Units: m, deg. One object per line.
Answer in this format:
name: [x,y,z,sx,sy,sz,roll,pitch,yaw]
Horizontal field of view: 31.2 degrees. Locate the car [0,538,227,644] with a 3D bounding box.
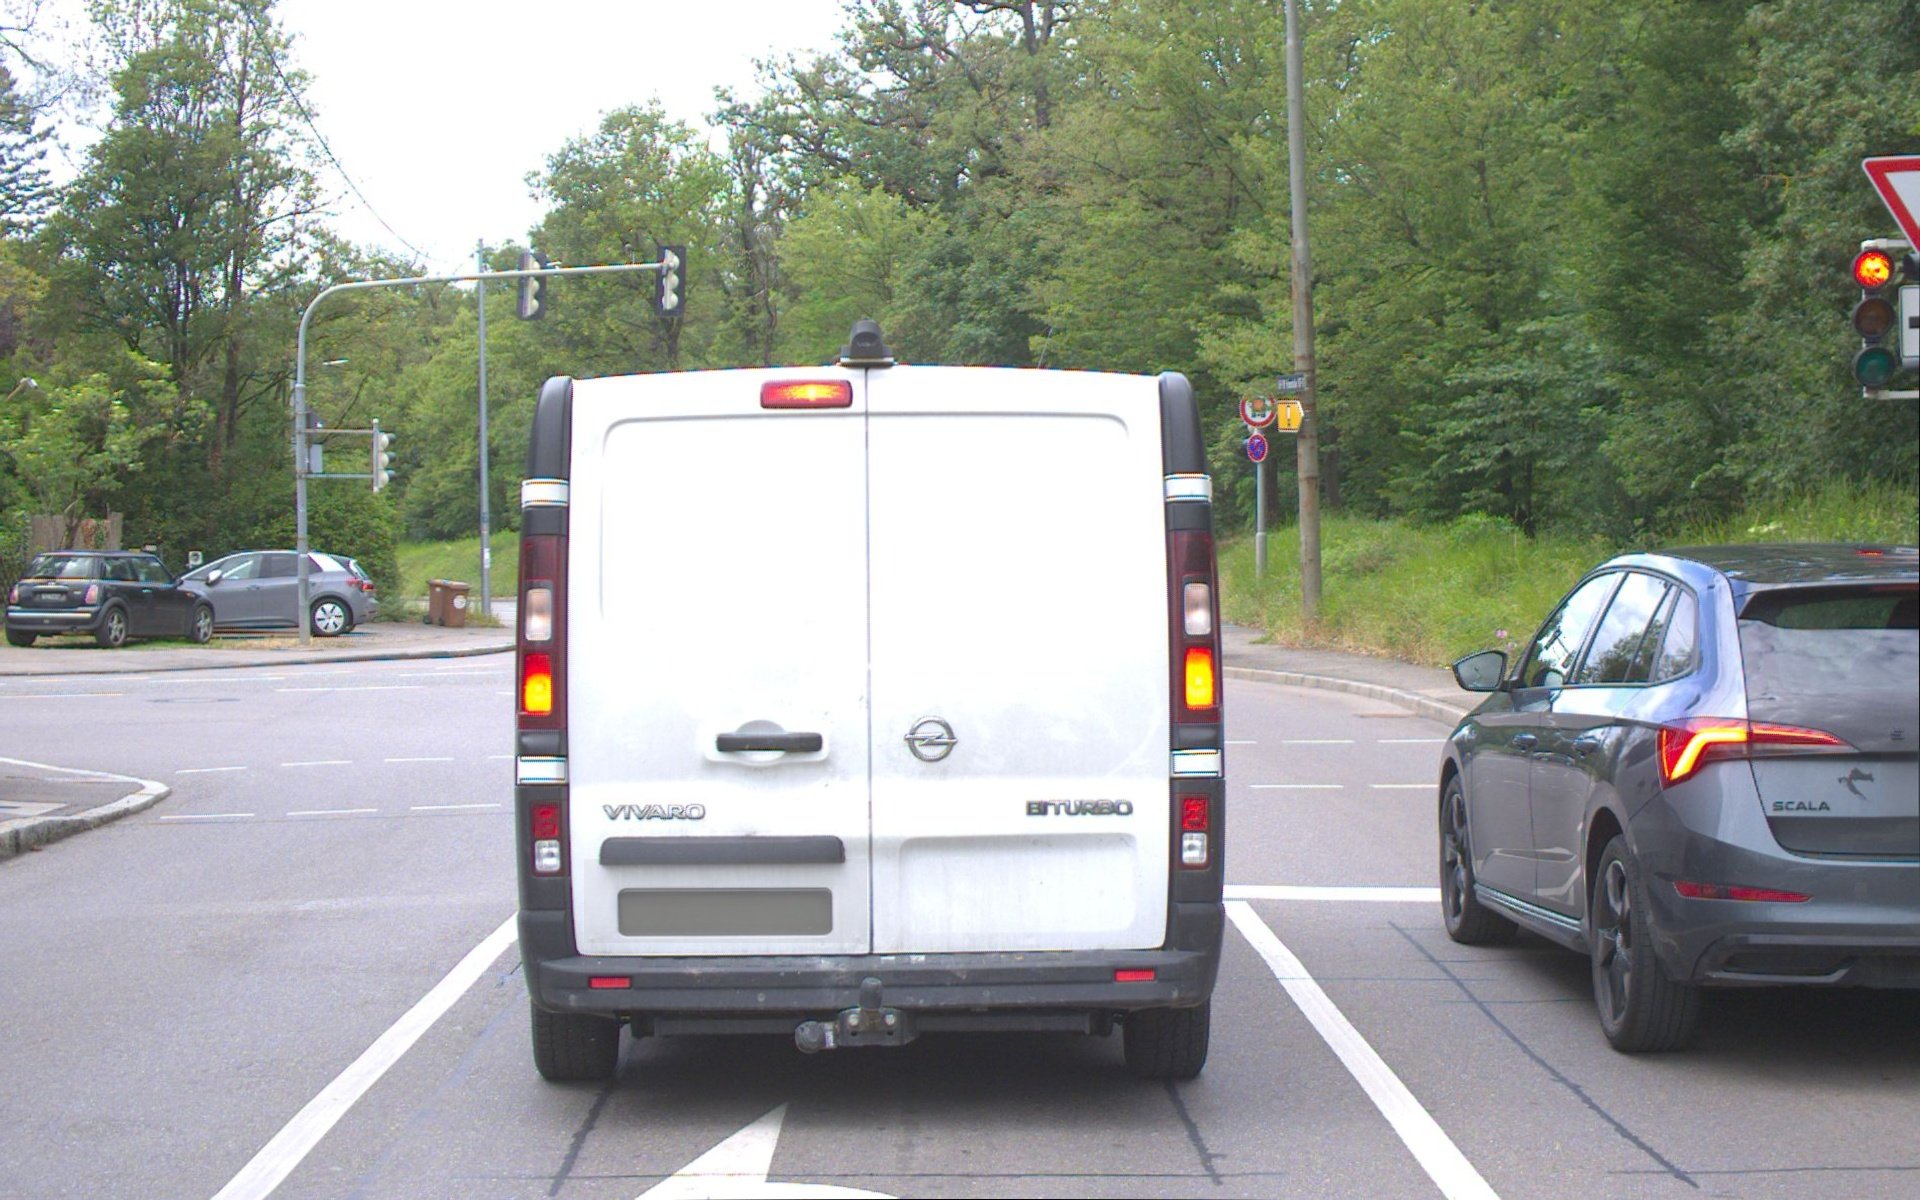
car: [-12.389,-0.144,50.089,1.699,1.444,3.540,2,1,20]

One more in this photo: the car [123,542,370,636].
car: [-12.545,-0.209,60.415,4.085,1.548,1.855,-1,2,-17]

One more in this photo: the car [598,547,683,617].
car: [-7.230,-0.424,78.049,1.856,1.501,4.001,-1,1,-5]

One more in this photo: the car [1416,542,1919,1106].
car: [2.678,0.553,11.010,1.792,1.445,4.000,0,1,-2]

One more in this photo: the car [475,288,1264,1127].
car: [-0.327,0.226,10.825,1.916,2.046,4.615,1,1,-3]
